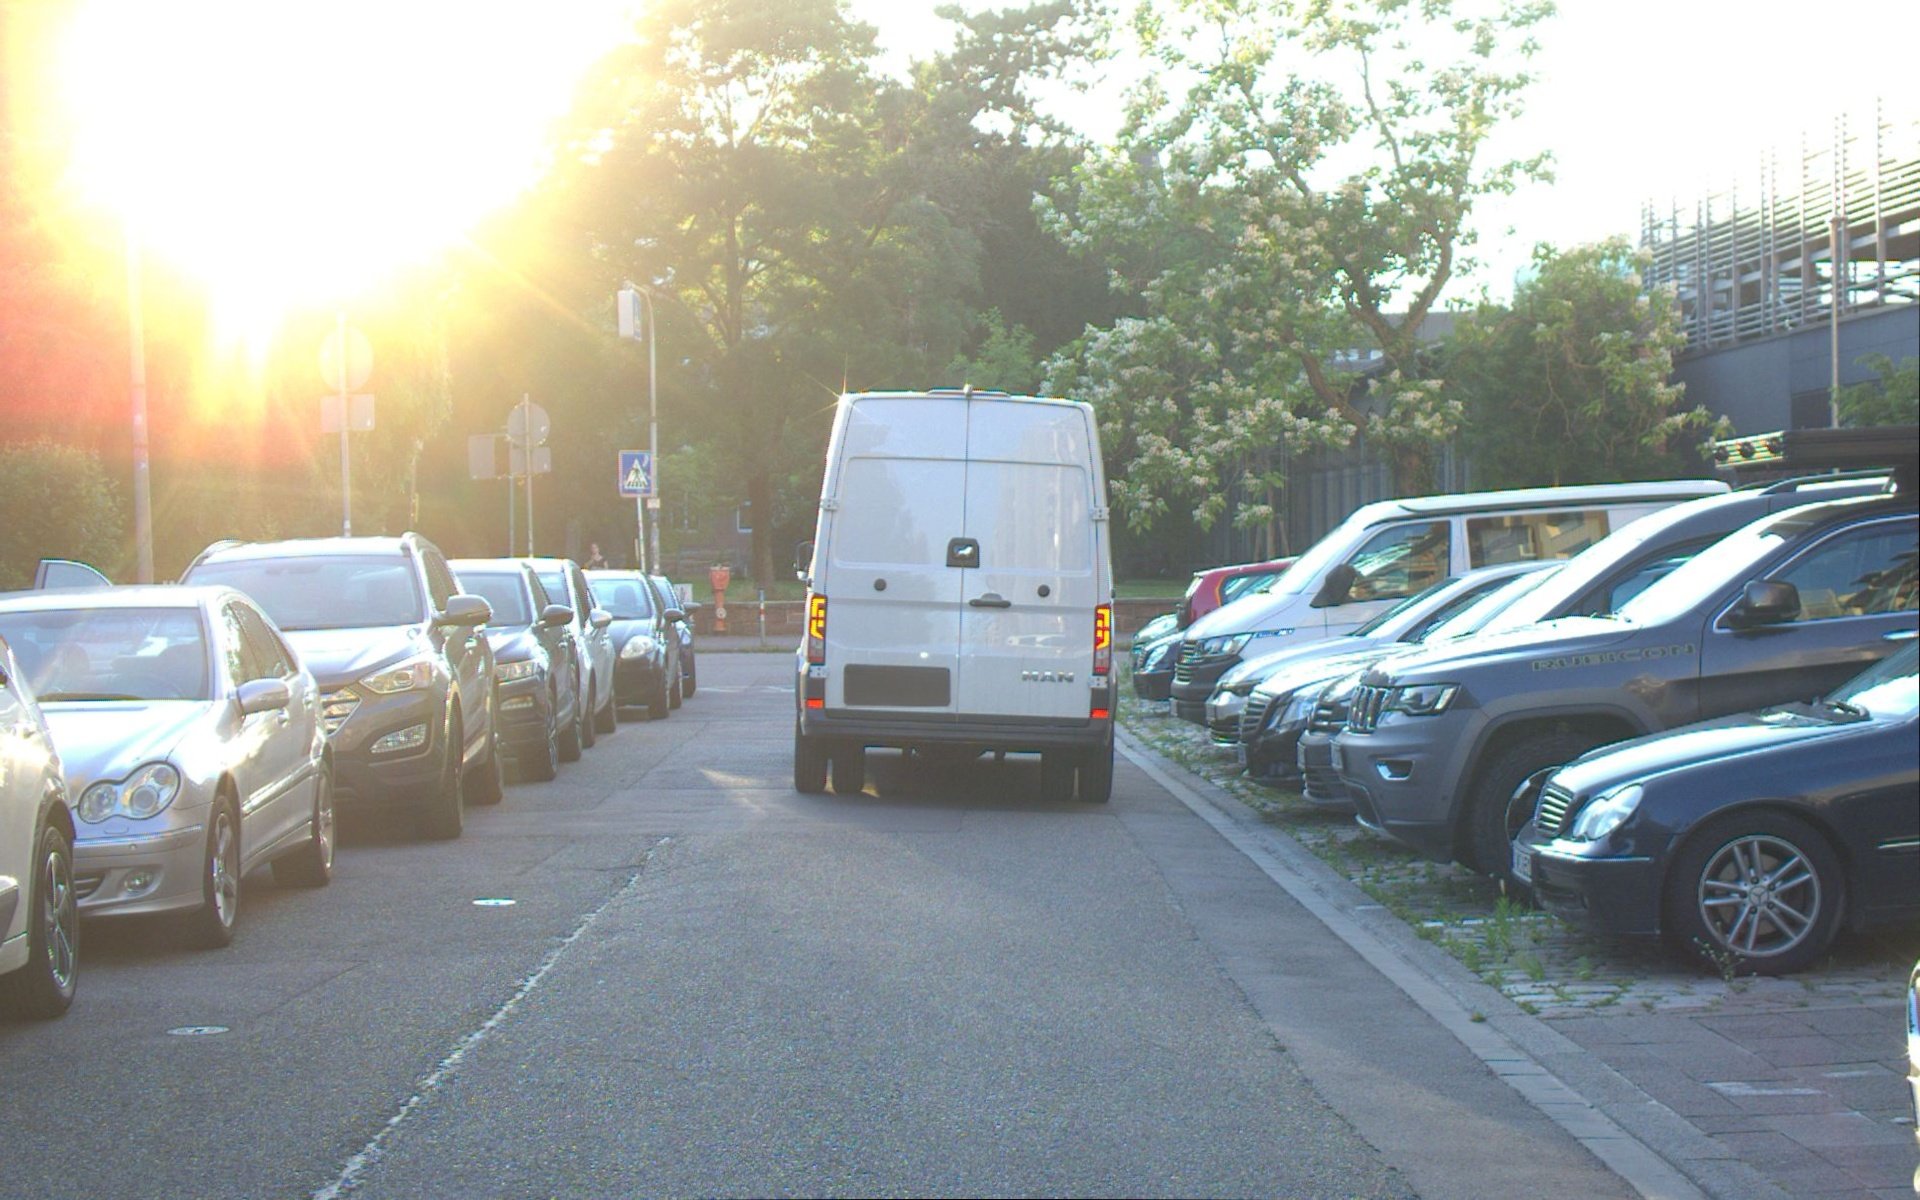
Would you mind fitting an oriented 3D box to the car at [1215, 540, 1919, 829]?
[{"bbox_3d":[3.827,0.494,20.607,4.403,1.558,1.846,-1,-1,-1],"label":"car"}]

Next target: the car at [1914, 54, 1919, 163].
[{"bbox_3d":[18.891,-9.236,62.902,1.994,2.007,3.999,1,1,5],"label":"car"}]

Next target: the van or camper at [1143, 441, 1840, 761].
[{"bbox_3d":[4.196,0.002,27.725,5.132,2.160,2.040,-4,0,-2],"label":"van or camper"}]

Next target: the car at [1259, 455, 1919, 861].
[{"bbox_3d":[4.024,0.288,18.307,4.636,1.974,1.846,-1,-1,-1],"label":"car"}]

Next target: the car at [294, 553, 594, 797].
[{"bbox_3d":[-3.633,0.467,24.828,1.733,1.562,4.168,-1,1,-3],"label":"car"}]

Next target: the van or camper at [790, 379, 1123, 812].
[{"bbox_3d":[-0.057,-0.070,24.123,1.993,2.609,6.403,1,1,-1],"label":"van or camper"}]

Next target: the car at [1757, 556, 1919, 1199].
[{"bbox_3d":[3.980,0.642,6.535,4.403,1.549,1.846,-1,-1,-5],"label":"car"}]

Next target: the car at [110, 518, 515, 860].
[{"bbox_3d":[-3.633,0.425,19.980,1.733,1.724,4.324,-1,1,-3],"label":"car"}]

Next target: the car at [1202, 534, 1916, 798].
[{"bbox_3d":[3.920,0.441,23.049,4.403,1.587,1.846,-1,-1,-1],"label":"car"}]

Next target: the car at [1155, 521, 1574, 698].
[{"bbox_3d":[4.469,0.090,38.493,4.404,1.626,1.846,-4,1,2],"label":"car"}]

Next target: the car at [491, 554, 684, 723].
[{"bbox_3d":[-3.718,0.345,34.819,1.733,1.562,3.698,-1,1,-3],"label":"car"}]

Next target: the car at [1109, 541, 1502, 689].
[{"bbox_3d":[4.081,0.188,41.050,4.403,1.626,1.846,-1,-1,-3],"label":"car"}]

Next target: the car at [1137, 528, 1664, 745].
[{"bbox_3d":[3.854,0.329,30.556,4.325,1.656,1.782,-3,-1,-3],"label":"car"}]

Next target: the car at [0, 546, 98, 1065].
[{"bbox_3d":[-3.705,0.642,9.506,1.758,1.537,4.281,-1,1,-3],"label":"car"}]

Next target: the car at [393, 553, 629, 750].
[{"bbox_3d":[-3.879,0.390,30.242,1.733,1.562,4.130,-1,1,-3],"label":"car"}]

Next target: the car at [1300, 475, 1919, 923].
[{"bbox_3d":[3.927,0.389,15.659,4.512,1.856,1.846,-1,1,-1],"label":"car"}]

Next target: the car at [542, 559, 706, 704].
[{"bbox_3d":[-3.904,0.326,40.370,1.733,1.562,3.791,-1,1,-3],"label":"car"}]

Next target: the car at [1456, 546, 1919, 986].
[{"bbox_3d":[4.252,0.578,13.271,4.403,1.549,1.845,-1,-1,2],"label":"car"}]

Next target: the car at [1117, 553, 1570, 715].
[{"bbox_3d":[3.936,0.361,35.791,4.403,1.526,1.846,-2,-1,-3],"label":"car"}]

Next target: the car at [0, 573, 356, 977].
[{"bbox_3d":[-3.722,0.635,14.674,1.733,1.422,4.288,-1,1,-3],"label":"car"}]

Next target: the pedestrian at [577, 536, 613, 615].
[{"bbox_3d":[-7.735,-0.526,72.841,0.646,1.643,0.674,2,1,0],"label":"pedestrian"}]

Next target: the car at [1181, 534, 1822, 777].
[{"bbox_3d":[3.932,0.413,25.502,4.403,1.626,1.846,-1,-1,-1],"label":"car"}]
